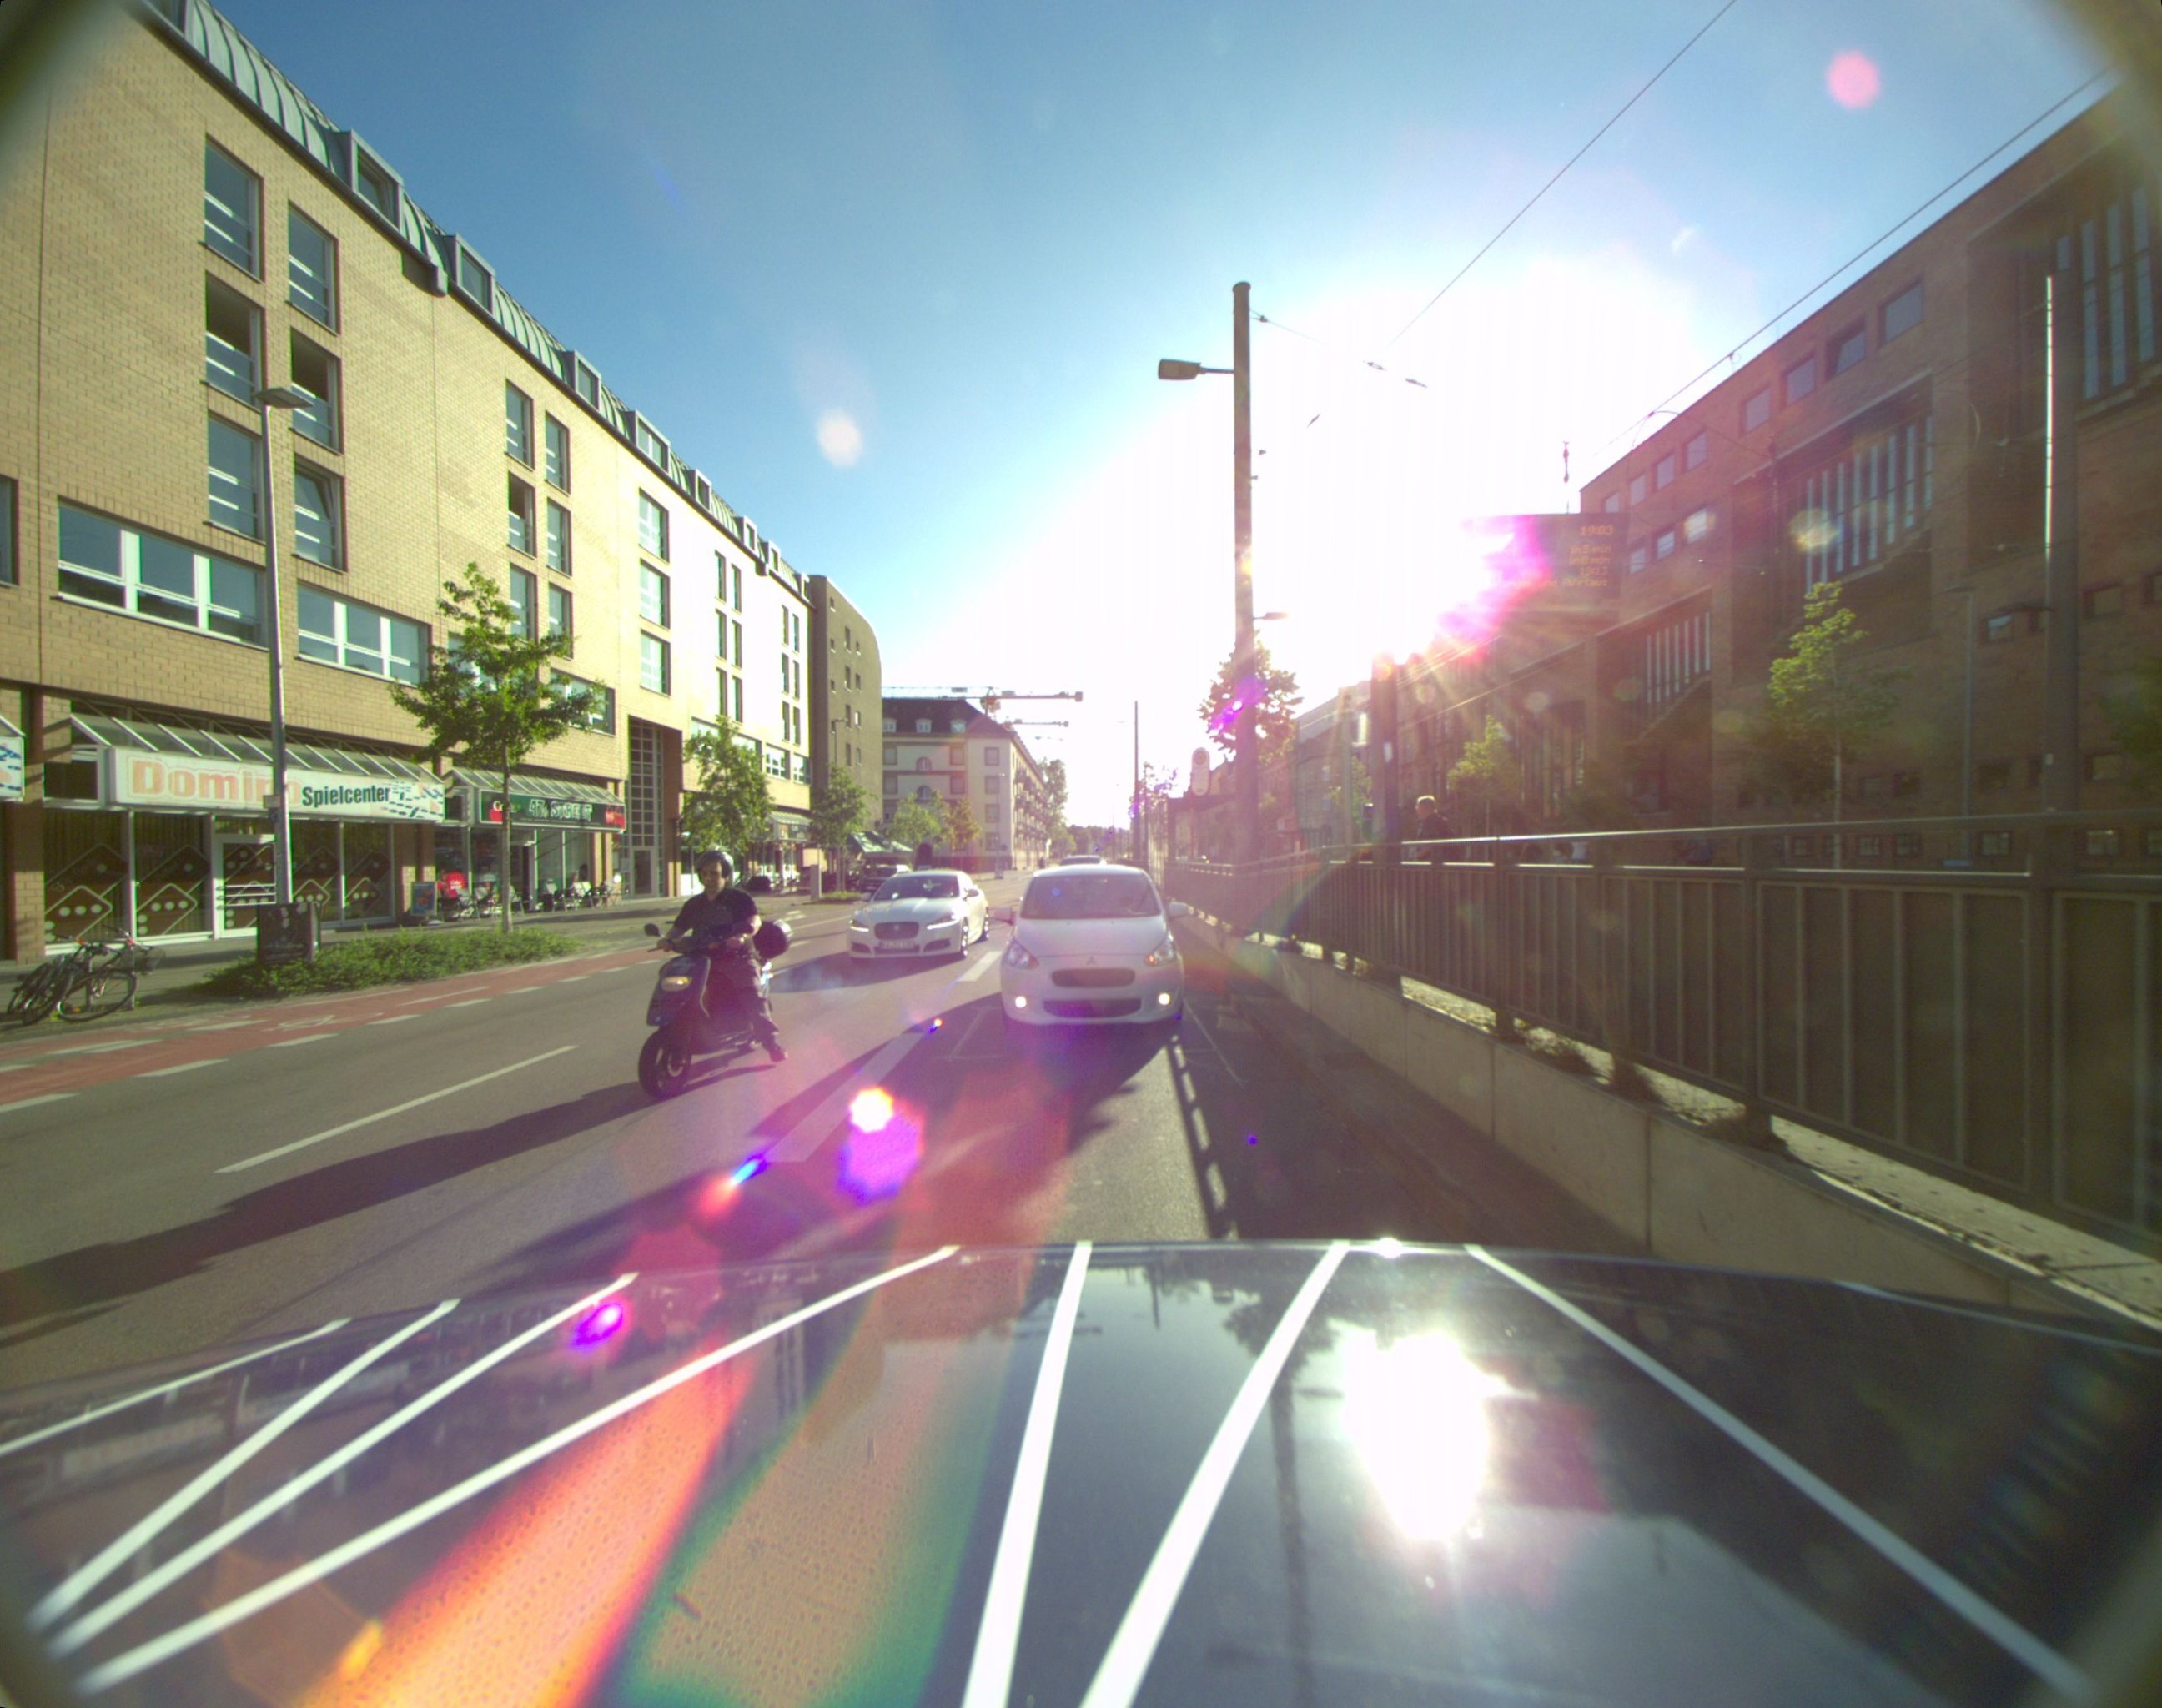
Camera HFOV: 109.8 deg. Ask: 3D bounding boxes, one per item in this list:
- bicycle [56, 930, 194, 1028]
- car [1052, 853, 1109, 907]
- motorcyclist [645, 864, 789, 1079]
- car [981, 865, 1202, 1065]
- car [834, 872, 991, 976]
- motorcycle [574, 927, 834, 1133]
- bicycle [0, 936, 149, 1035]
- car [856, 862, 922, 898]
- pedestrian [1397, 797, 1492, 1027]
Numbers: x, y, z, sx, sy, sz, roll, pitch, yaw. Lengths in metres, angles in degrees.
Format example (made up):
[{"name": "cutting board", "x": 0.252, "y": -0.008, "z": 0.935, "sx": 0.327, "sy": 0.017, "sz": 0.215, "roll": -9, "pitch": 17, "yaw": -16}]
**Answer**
[{"name": "bicycle", "x": -11.920, "y": 1.527, "z": 9.468, "sx": 1.835, "sy": 1.050, "sz": 0.351, "roll": 1, "pitch": 2, "yaw": 15}, {"name": "car", "x": -0.017, "y": 0.821, "z": 25.965, "sx": 1.720, "sy": 1.591, "sz": 4.215, "roll": -2, "pitch": 1, "yaw": 0}, {"name": "motorcyclist", "x": -2.821, "y": 0.887, "z": 5.946, "sx": 0.798, "sy": 1.571, "sz": 0.529, "roll": -2, "pitch": 1, "yaw": 0}, {"name": "car", "x": 0.082, "y": 0.922, "z": 8.200, "sx": 1.720, "sy": 1.422, "sz": 4.215, "roll": -2, "pitch": 1, "yaw": 0}, {"name": "car", "x": -2.761, "y": 1.091, "z": 13.496, "sx": 1.808, "sy": 1.421, "sz": 4.452, "roll": -1, "pitch": 0, "yaw": 0}, {"name": "motorcycle", "x": -2.799, "y": 1.243, "z": 6.054, "sx": 0.806, "sy": 1.044, "sz": 2.375, "roll": -2, "pitch": 1, "yaw": 1}, {"name": "bicycle", "x": -12.022, "y": 1.539, "z": 9.041, "sx": 1.835, "sy": 0.980, "sz": 0.449, "roll": 1, "pitch": 2, "yaw": 15}, {"name": "car", "x": -9.659, "y": 1.275, "z": 38.614, "sx": 1.778, "sy": 1.630, "sz": 4.003, "roll": 2, "pitch": 0, "yaw": 9}, {"name": "pedestrian", "x": 4.010, "y": 0.616, "z": 8.413, "sx": 0.684, "sy": 2.428, "sz": 0.626, "roll": -2, "pitch": 1, "yaw": -2}]
